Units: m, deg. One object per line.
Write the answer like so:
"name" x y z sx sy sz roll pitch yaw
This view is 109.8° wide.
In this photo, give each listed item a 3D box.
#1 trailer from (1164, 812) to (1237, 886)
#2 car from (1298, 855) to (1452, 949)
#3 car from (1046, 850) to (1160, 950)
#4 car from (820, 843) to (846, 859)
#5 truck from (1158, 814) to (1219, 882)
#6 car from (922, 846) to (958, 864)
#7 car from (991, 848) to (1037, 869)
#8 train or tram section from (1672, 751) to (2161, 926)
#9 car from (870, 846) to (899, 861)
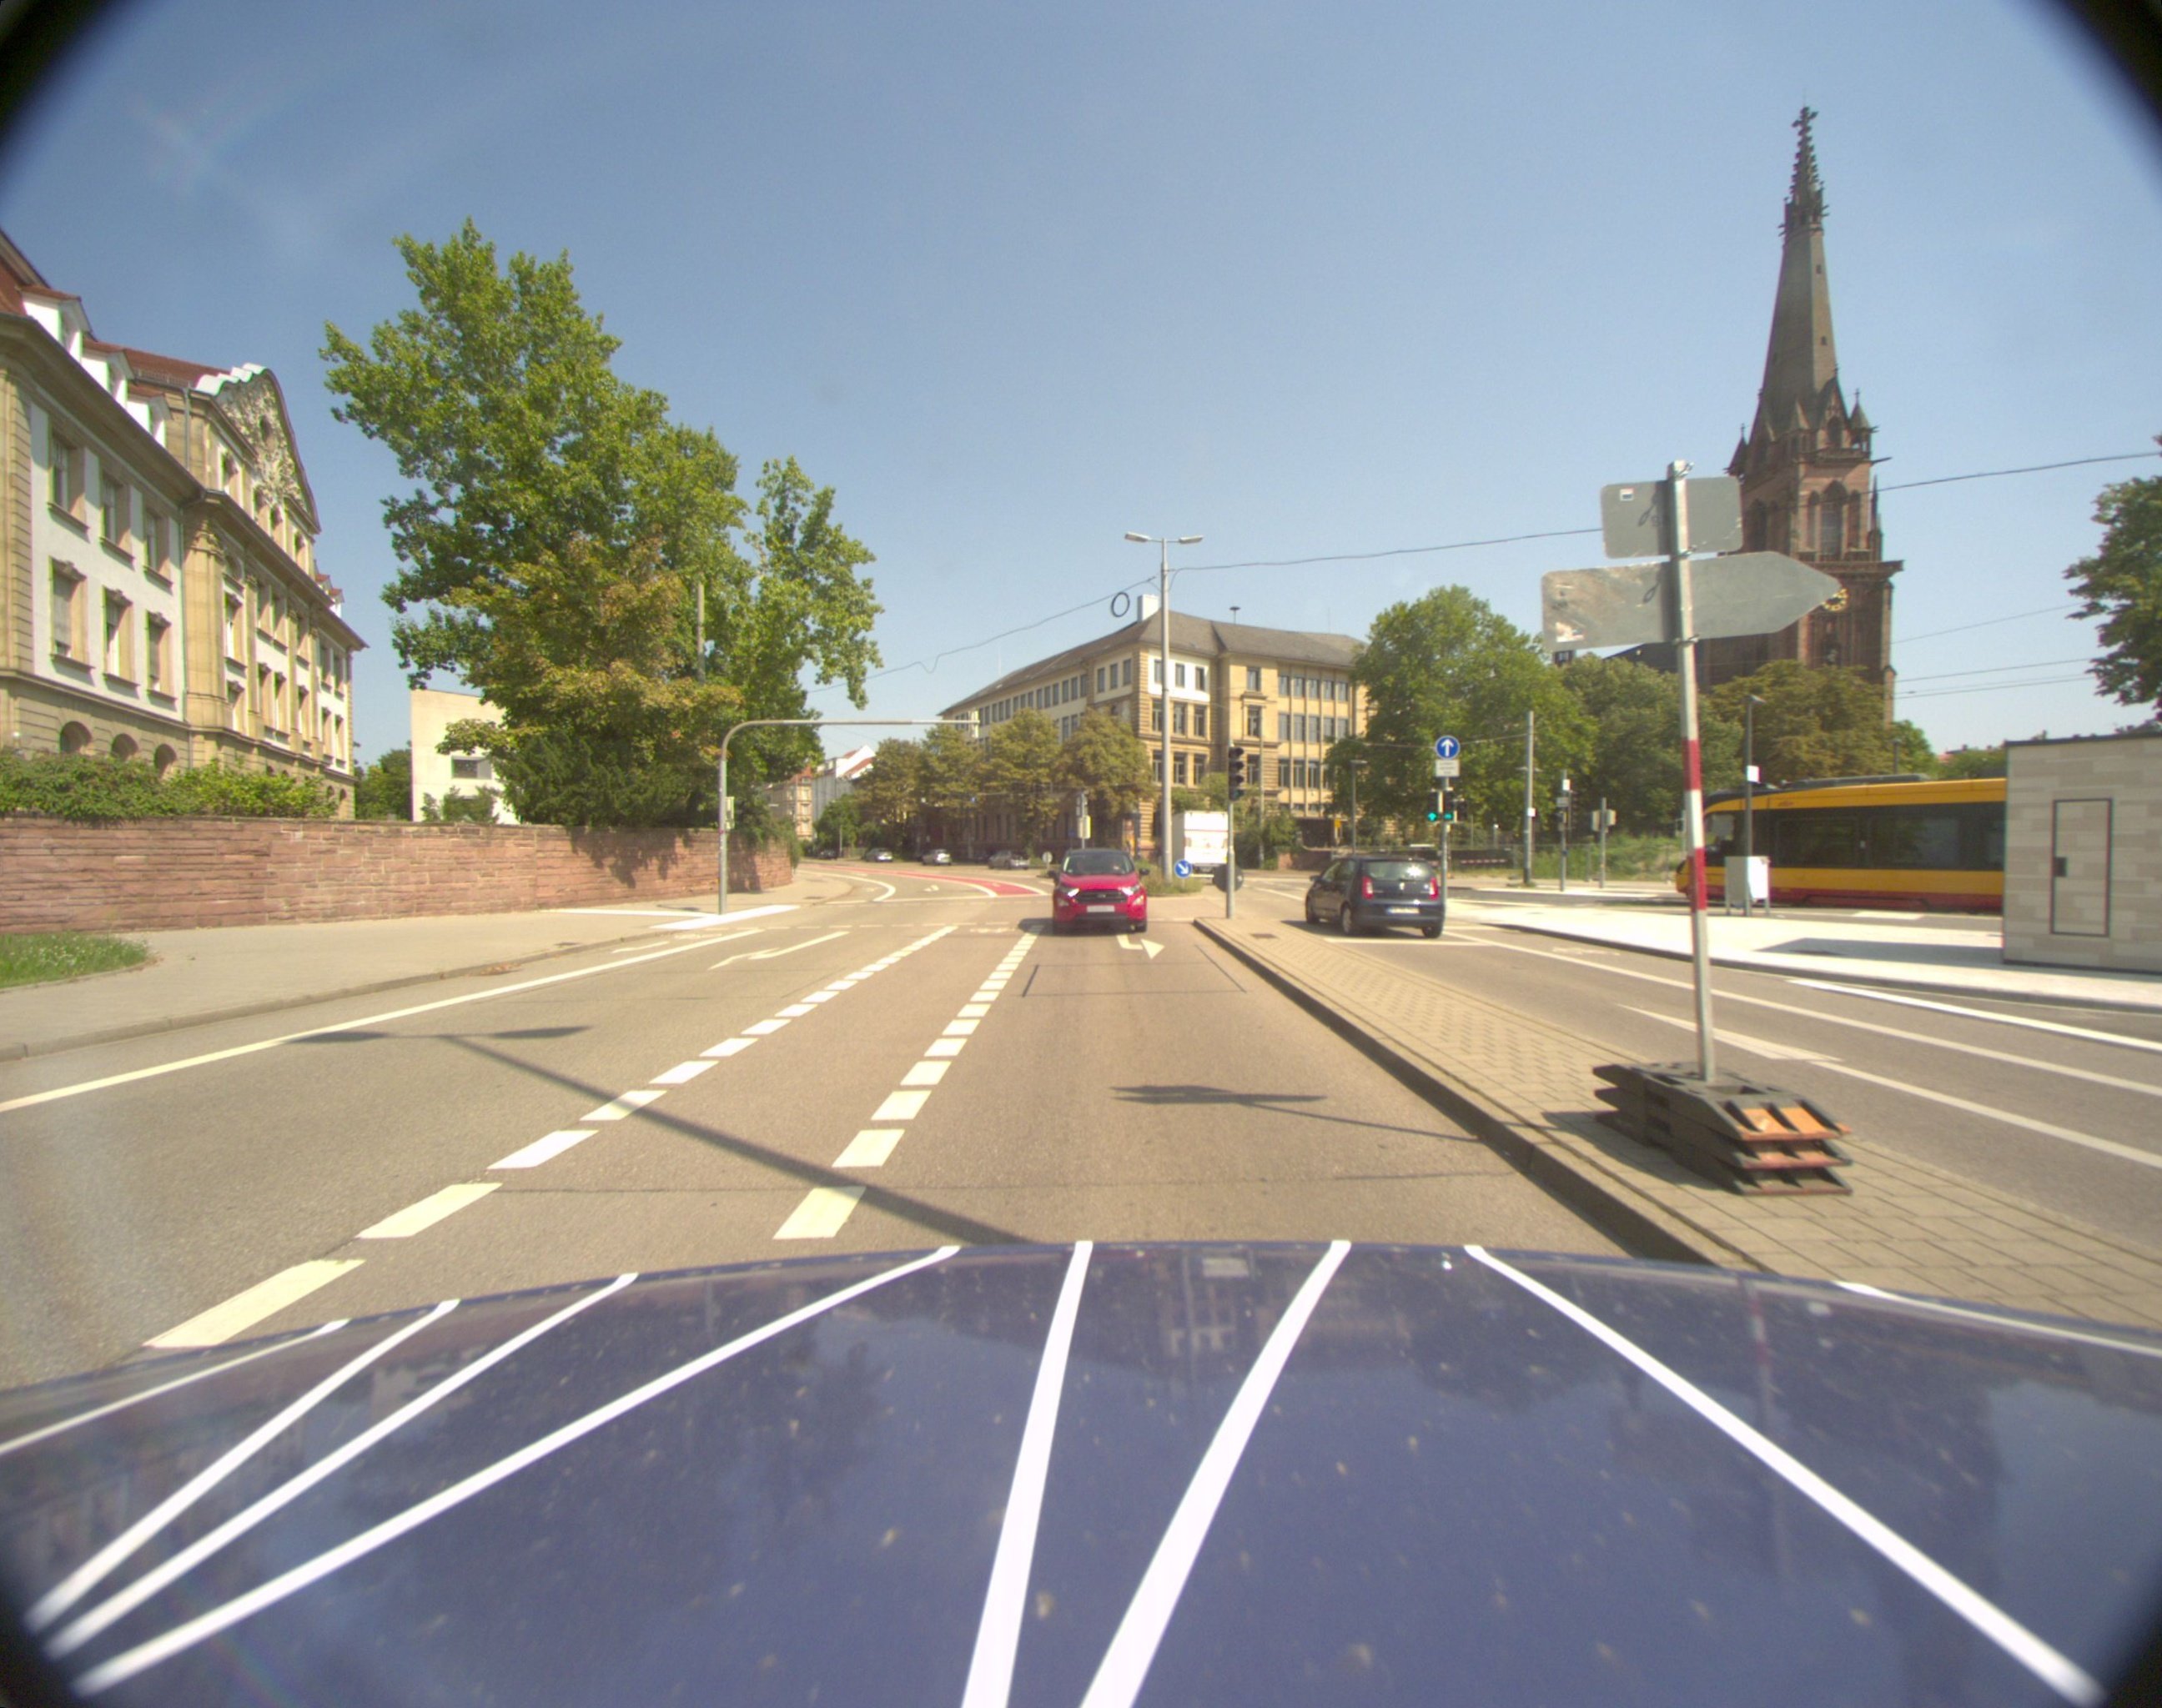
"trailer" 5.533 -0.255 35.895 2.441 3.269 5.086 0 1 -3
"car" 5.409 0.809 14.459 1.584 1.489 3.586 2 1 1
"car" 0.394 0.752 14.489 1.844 1.605 4.000 -1 0 1
"car" -33.009 -0.410 100.874 2.309 2.148 4.218 0 1 -32
"truck" 5.387 -0.308 38.449 2.429 3.269 3.425 0 1 -3
"car" -13.145 0.075 70.778 2.003 1.660 3.989 0 1 -33
"car" -5.224 0.316 58.751 1.891 1.587 3.989 0 1 -34
"train or tram section" 20.903 -0.280 19.626 3.144 3.539 8.306 1 -1 -34
"car" -21.852 -0.075 84.301 2.004 1.630 3.989 0 1 -33
